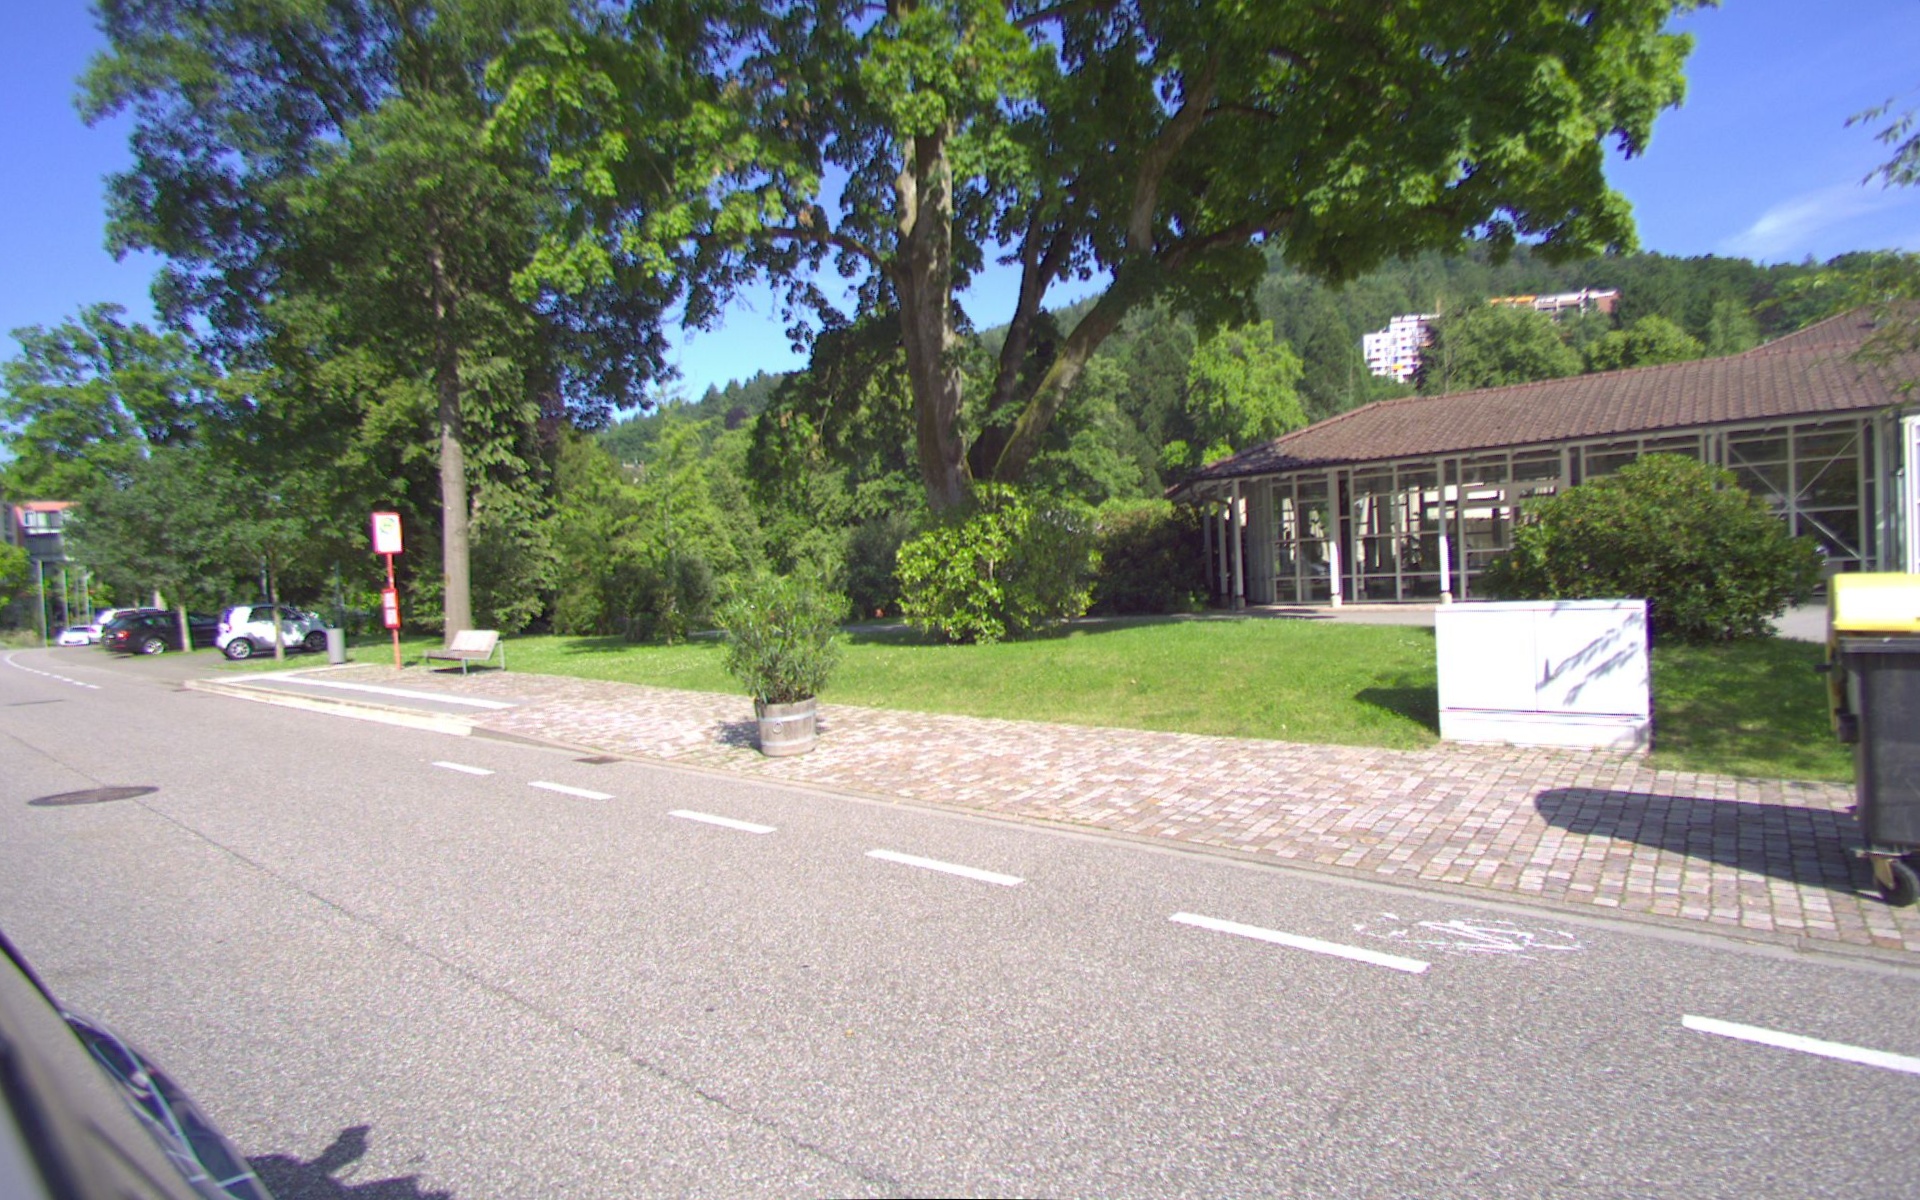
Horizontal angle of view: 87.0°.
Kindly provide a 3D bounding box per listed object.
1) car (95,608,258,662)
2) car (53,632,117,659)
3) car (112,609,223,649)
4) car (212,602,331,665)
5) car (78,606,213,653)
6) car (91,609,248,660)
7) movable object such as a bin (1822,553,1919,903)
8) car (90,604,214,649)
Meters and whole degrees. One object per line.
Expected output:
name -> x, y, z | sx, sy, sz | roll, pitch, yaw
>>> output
car -> -27.927, 1.210, 36.211 | 1.709, 1.442, 4.239 | -2, 3, 36
car -> -62.222, 3.205, 72.030 | 1.629, 1.481, 4.010 | -5, 2, -12
car -> -37.266, 1.331, 47.643 | 3.940, 1.443, 1.722 | -6, 4, -41
car -> -20.409, 0.943, 30.028 | 2.620, 1.558, 1.684 | -6, 4, -42
car -> -35.732, 1.269, 44.583 | 4.427, 1.427, 1.814 | -8, 5, -36
car -> -30.403, 1.286, 39.029 | 1.712, 1.521, 4.448 | -2, 3, 41
movable object such as a bin -> 4.711, 0.519, 4.415 | 1.375, 1.437, 1.068 | -2, 3, 39
car -> -39.275, 1.257, 49.242 | 1.811, 1.675, 4.433 | -1, 5, 45
